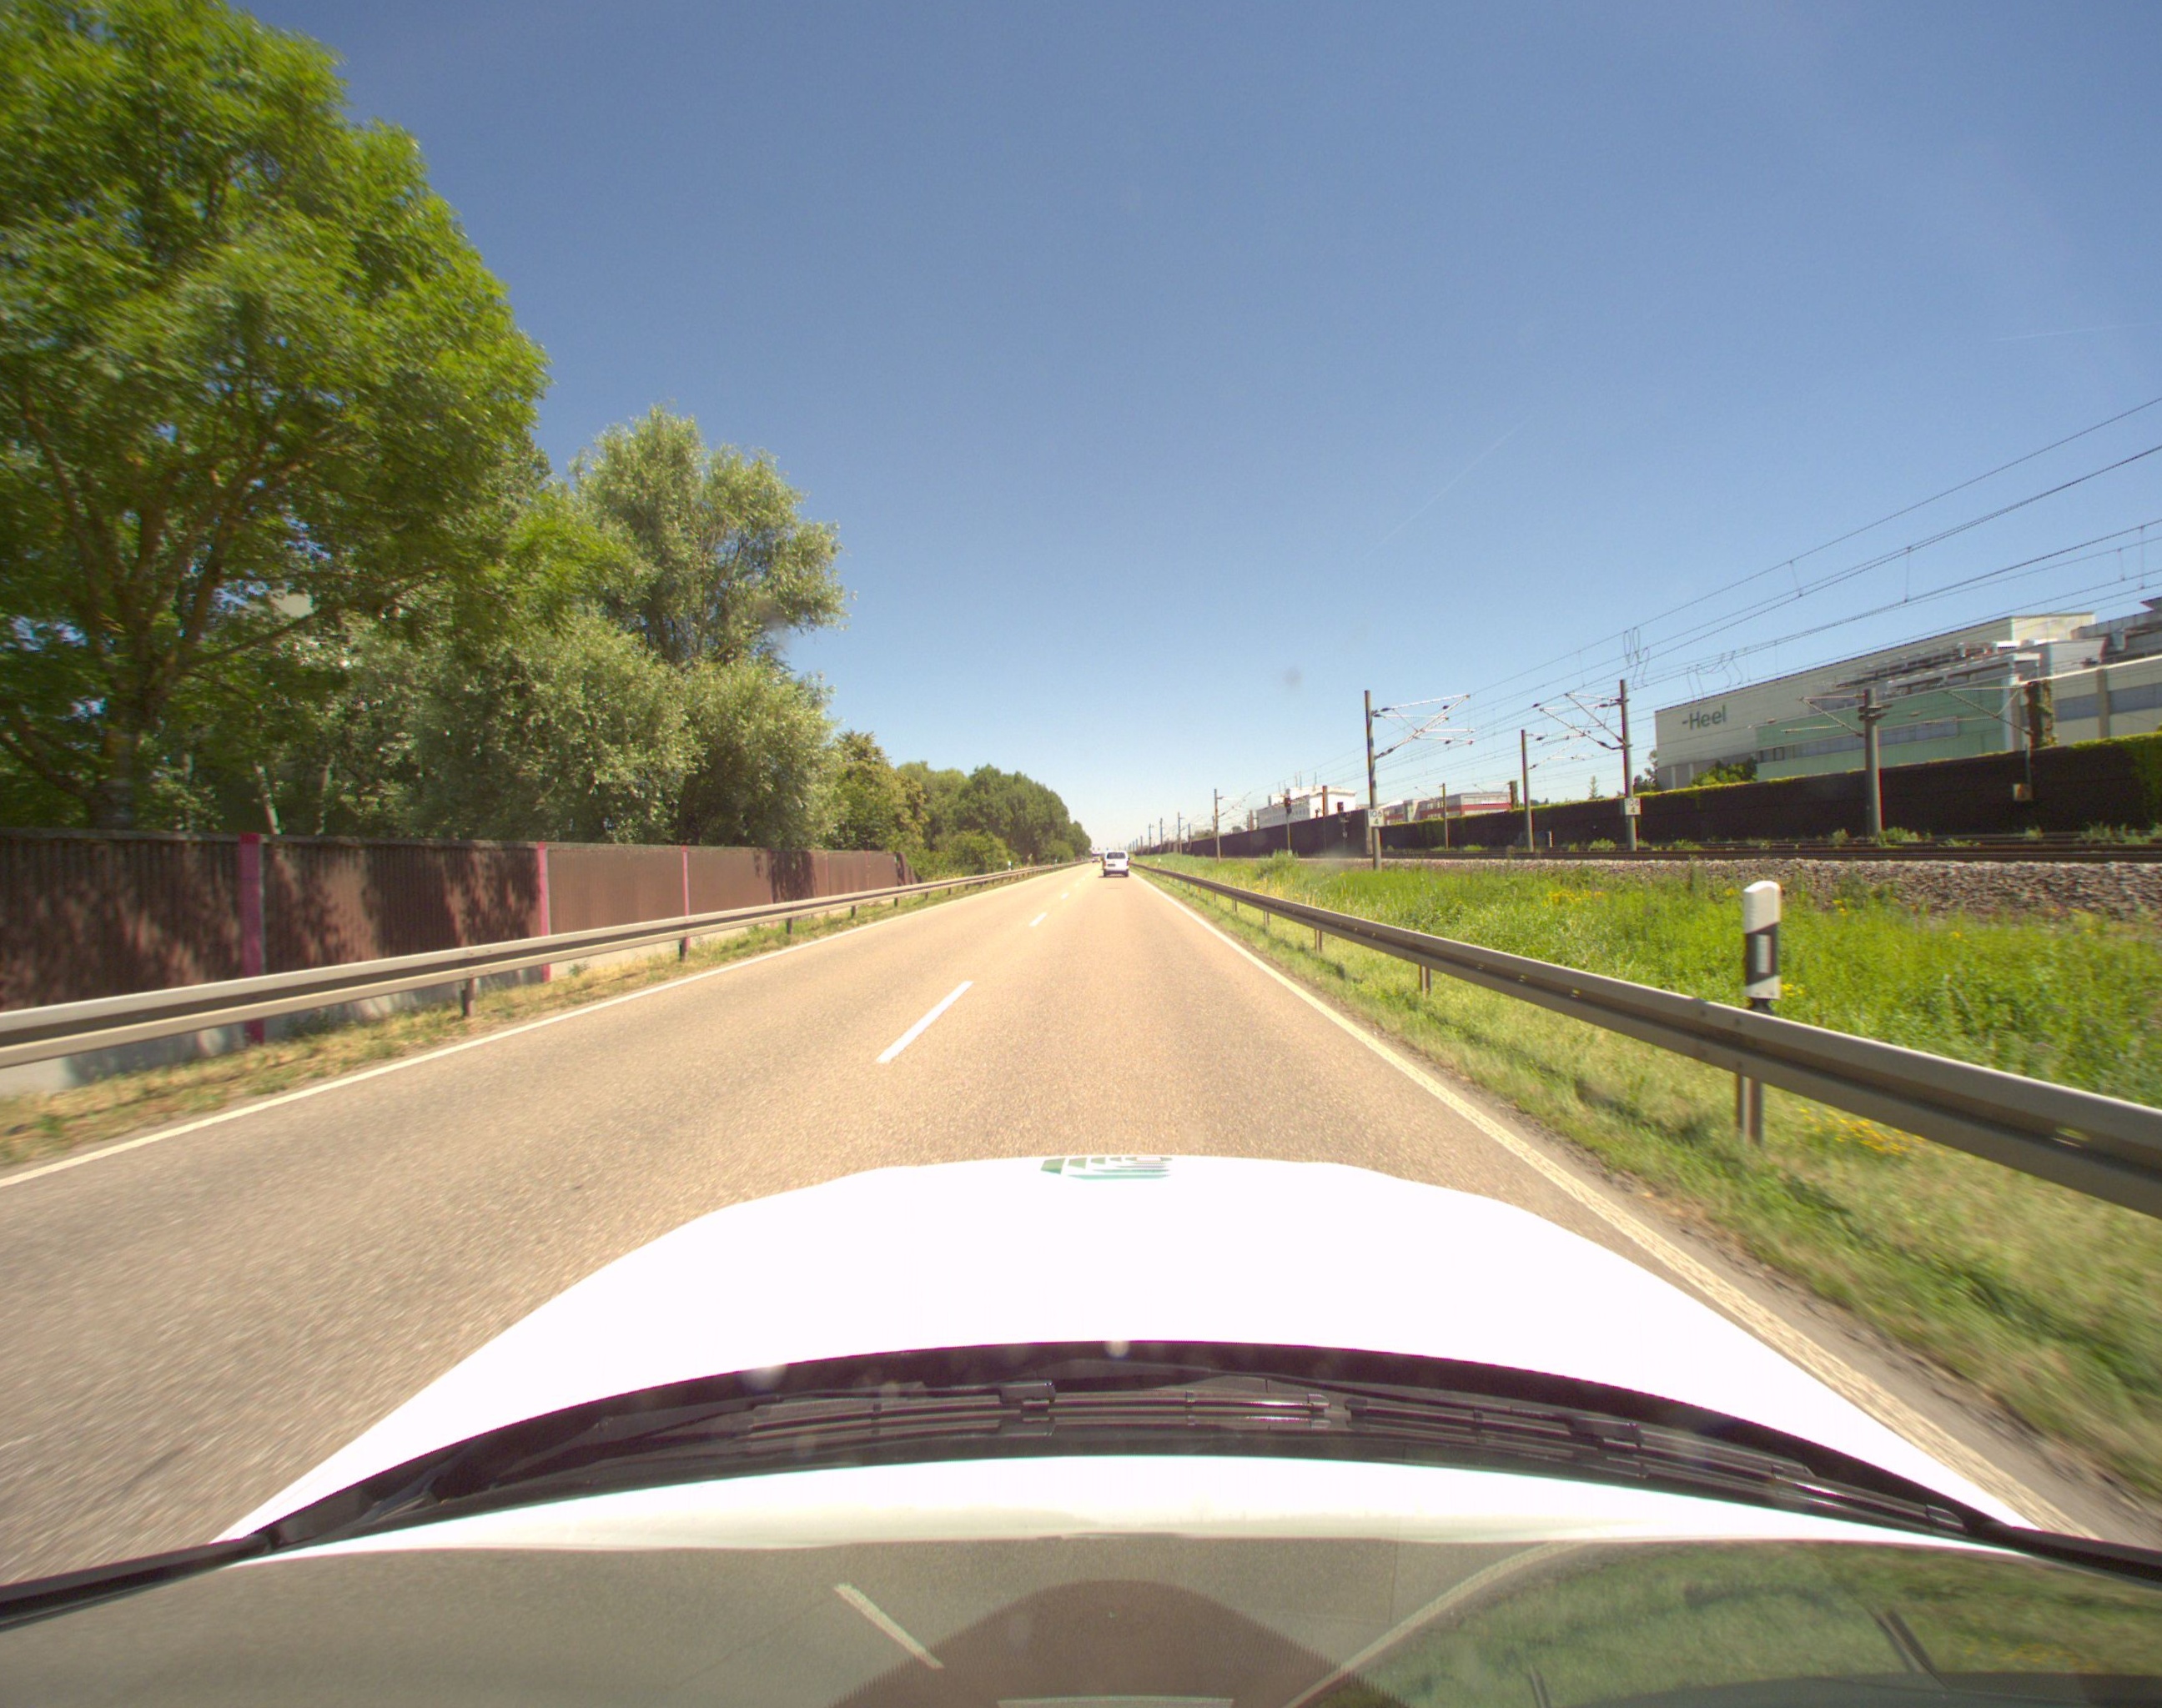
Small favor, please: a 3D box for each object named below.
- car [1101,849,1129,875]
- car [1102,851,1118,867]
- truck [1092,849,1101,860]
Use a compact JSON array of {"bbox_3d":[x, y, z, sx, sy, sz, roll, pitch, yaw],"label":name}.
[{"bbox_3d":[2.489,0.593,60.350,1.986,1.850,4.002,0,0,2],"label":"car"},{"bbox_3d":[3.547,0.609,99.834,1.986,1.850,4.002,0,0,2],"label":"car"},{"bbox_3d":[5.027,0.212,258.337,2.773,3.405,7.991,0,0,1],"label":"truck"}]
